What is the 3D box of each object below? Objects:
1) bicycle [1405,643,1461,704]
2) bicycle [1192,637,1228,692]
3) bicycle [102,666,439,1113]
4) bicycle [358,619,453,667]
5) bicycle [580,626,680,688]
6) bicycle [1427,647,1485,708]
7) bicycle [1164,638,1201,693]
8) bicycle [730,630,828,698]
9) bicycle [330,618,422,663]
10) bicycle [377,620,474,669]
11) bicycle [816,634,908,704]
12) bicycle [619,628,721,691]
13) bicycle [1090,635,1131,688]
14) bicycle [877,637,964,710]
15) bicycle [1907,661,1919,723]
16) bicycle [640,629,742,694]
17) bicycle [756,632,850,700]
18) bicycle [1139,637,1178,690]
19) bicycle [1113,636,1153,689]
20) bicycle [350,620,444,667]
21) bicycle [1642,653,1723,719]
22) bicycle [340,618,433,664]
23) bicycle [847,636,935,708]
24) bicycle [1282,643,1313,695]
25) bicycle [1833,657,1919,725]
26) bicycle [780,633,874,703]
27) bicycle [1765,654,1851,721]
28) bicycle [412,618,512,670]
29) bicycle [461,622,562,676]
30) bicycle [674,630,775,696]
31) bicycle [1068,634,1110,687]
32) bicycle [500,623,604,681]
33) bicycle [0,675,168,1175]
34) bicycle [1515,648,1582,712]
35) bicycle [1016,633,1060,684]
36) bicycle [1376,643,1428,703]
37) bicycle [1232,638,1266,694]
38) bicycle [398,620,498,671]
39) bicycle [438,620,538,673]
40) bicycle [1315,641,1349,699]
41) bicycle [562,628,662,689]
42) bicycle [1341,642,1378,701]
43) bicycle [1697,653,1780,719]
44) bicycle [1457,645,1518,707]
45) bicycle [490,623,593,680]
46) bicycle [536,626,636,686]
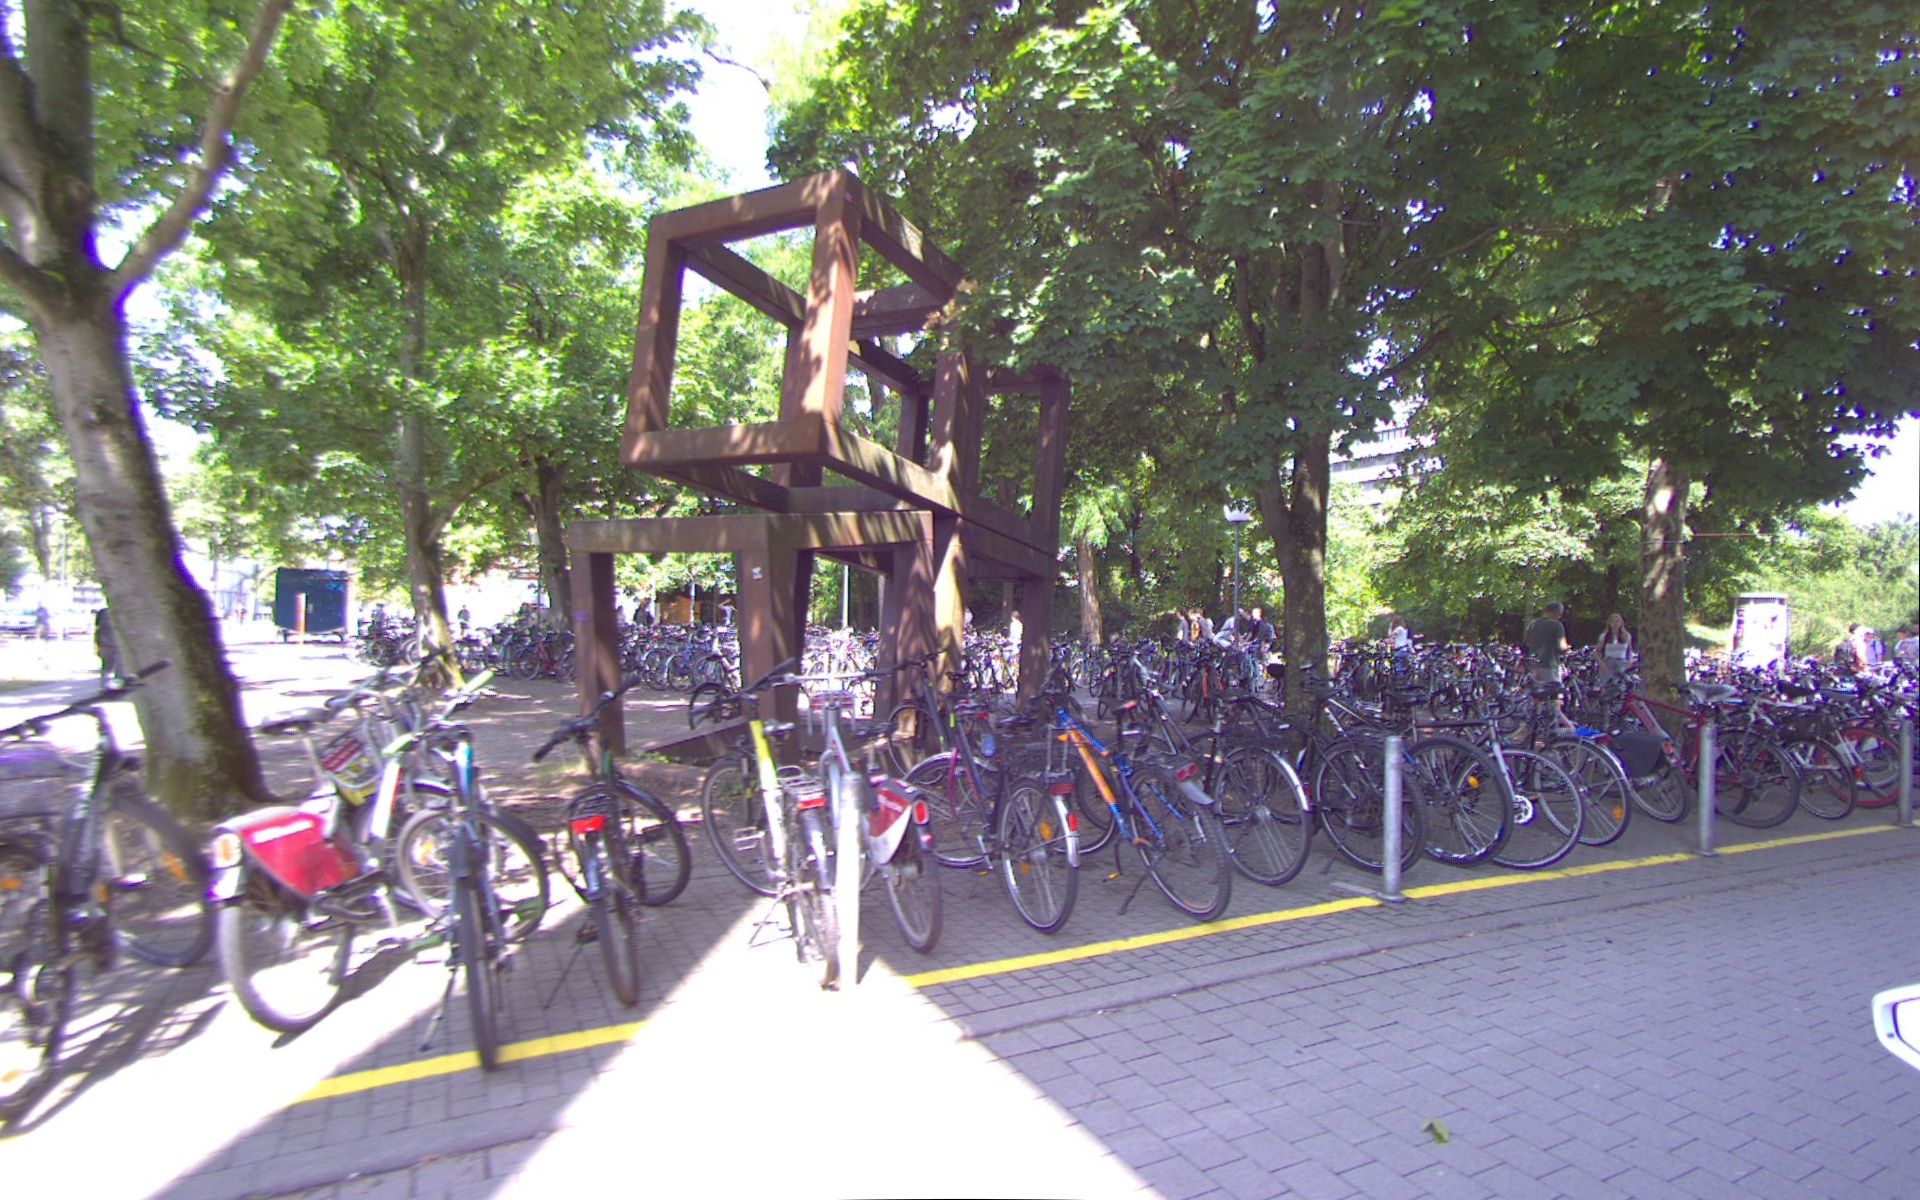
[{"bbox_3d":[9.415,1.439,20.047,0.464,1.098,1.701,2,-1,7],"label":"bicycle"},{"bbox_3d":[5.363,1.368,21.521,0.465,1.098,1.699,2,-1,23],"label":"bicycle"},{"bbox_3d":[-2.332,0.850,3.607,0.489,1.123,1.624,0,0,-16],"label":"bicycle"},{"bbox_3d":[-13.689,1.053,24.873,0.494,1.123,2.024,2,-1,35],"label":"bicycle"},{"bbox_3d":[-6.397,1.094,19.599,0.494,1.123,2.027,2,-1,29],"label":"bicycle"},{"bbox_3d":[9.823,1.510,19.949,0.464,1.098,1.701,2,-1,7],"label":"bicycle"},{"bbox_3d":[4.844,1.395,21.795,0.465,1.098,1.699,2,-1,23],"label":"bicycle"},{"bbox_3d":[-3.210,1.117,18.024,0.494,1.123,2.001,2,-1,32],"label":"bicycle"},{"bbox_3d":[-15.406,1.072,26.559,0.496,1.123,2.019,2,-1,43],"label":"bicycle"},{"bbox_3d":[-12.758,1.054,24.026,0.494,1.123,2.024,2,-1,35],"label":"bicycle"},{"bbox_3d":[-1.663,1.156,17.307,0.494,1.123,1.902,2,-1,32],"label":"bicycle"},{"bbox_3d":[-5.442,1.102,18.978,0.494,1.123,2.001,2,-1,32],"label":"bicycle"},{"bbox_3d":[3.367,1.337,22.328,0.465,1.098,1.699,2,-1,23],"label":"bicycle"},{"bbox_3d":[-0.625,1.190,16.707,0.494,1.123,1.904,2,-1,29],"label":"bicycle"},{"bbox_3d":[17.573,1.658,17.455,0.465,1.098,1.697,2,-1,-8],"label":"bicycle"},{"bbox_3d":[-4.953,1.113,18.654,0.494,1.123,2.001,2,-1,32],"label":"bicycle"},{"bbox_3d":[-2.739,1.142,17.776,0.494,1.123,1.902,2,-1,32],"label":"bicycle"},{"bbox_3d":[4.425,1.381,22.317,0.465,1.098,1.699,2,-1,23],"label":"bicycle"},{"bbox_3d":[3.840,1.354,22.171,0.465,1.098,1.699,2,-1,23],"label":"bicycle"},{"bbox_3d":[-14.160,1.081,25.324,0.494,1.123,2.024,2,-1,35],"label":"bicycle"},{"bbox_3d":[13.527,1.585,18.854,0.464,1.098,1.701,2,-1,7],"label":"bicycle"},{"bbox_3d":[-14.588,1.040,25.615,0.494,1.123,2.024,2,-1,35],"label":"bicycle"},{"bbox_3d":[-1.125,1.177,16.902,0.494,1.123,1.904,2,-1,29],"label":"bicycle"},{"bbox_3d":[6.937,1.394,20.603,0.443,0.974,1.739,2,-1,23],"label":"bicycle"},{"bbox_3d":[16.695,1.626,18.278,0.464,1.098,1.701,2,-1,14],"label":"bicycle"},{"bbox_3d":[-2.264,1.136,17.346,0.494,1.123,1.902,2,-1,32],"label":"bicycle"},{"bbox_3d":[15.514,1.571,18.427,0.464,1.098,1.701,2,-1,14],"label":"bicycle"},{"bbox_3d":[-11.324,1.003,22.913,0.494,1.123,2.024,2,-1,35],"label":"bicycle"},{"bbox_3d":[-9.714,1.053,21.830,0.494,1.123,2.024,2,-1,35],"label":"bicycle"},{"bbox_3d":[-4.269,1.119,18.347,0.494,1.123,2.001,2,-1,32],"label":"bicycle"},{"bbox_3d":[2.912,1.336,22.541,0.465,1.098,1.699,2,-1,23],"label":"bicycle"},{"bbox_3d":[-8.387,1.054,20.755,0.494,1.123,2.024,2,-1,35],"label":"bicycle"},{"bbox_3d":[-2.909,0.844,3.049,0.491,1.123,1.618,0,0,-28],"label":"bicycle"},{"bbox_3d":[11.336,1.520,19.394,0.464,1.098,1.701,2,-1,7],"label":"bicycle"},{"bbox_3d":[1.810,1.330,23.113,0.465,1.098,1.699,2,-1,23],"label":"bicycle"},{"bbox_3d":[8.865,1.439,20.185,0.464,1.098,1.701,2,-1,7],"label":"bicycle"},{"bbox_3d":[6.135,1.382,21.298,0.465,1.098,1.699,2,-1,23],"label":"bicycle"},{"bbox_3d":[-11.831,1.038,23.275,0.494,1.123,2.024,2,-1,35],"label":"bicycle"},{"bbox_3d":[-10.575,1.038,22.572,0.494,1.123,2.024,2,-1,35],"label":"bicycle"},{"bbox_3d":[7.663,1.422,20.734,0.464,1.098,1.700,2,-1,15],"label":"bicycle"},{"bbox_3d":[-6.842,1.128,19.856,0.494,1.123,2.027,2,-1,29],"label":"bicycle"},{"bbox_3d":[8.143,1.428,20.535,0.464,1.098,1.700,2,-1,15],"label":"bicycle"},{"bbox_3d":[14.536,1.581,18.804,0.464,1.098,1.701,2,-1,10],"label":"bicycle"},{"bbox_3d":[10.358,1.464,19.758,0.464,1.098,1.701,2,-1,7],"label":"bicycle"},{"bbox_3d":[-8.772,1.072,21.132,0.494,1.123,2.024,2,-1,35],"label":"bicycle"},{"bbox_3d":[-7.501,1.104,20.233,0.494,1.123,2.027,2,-1,29],"label":"bicycle"}]
